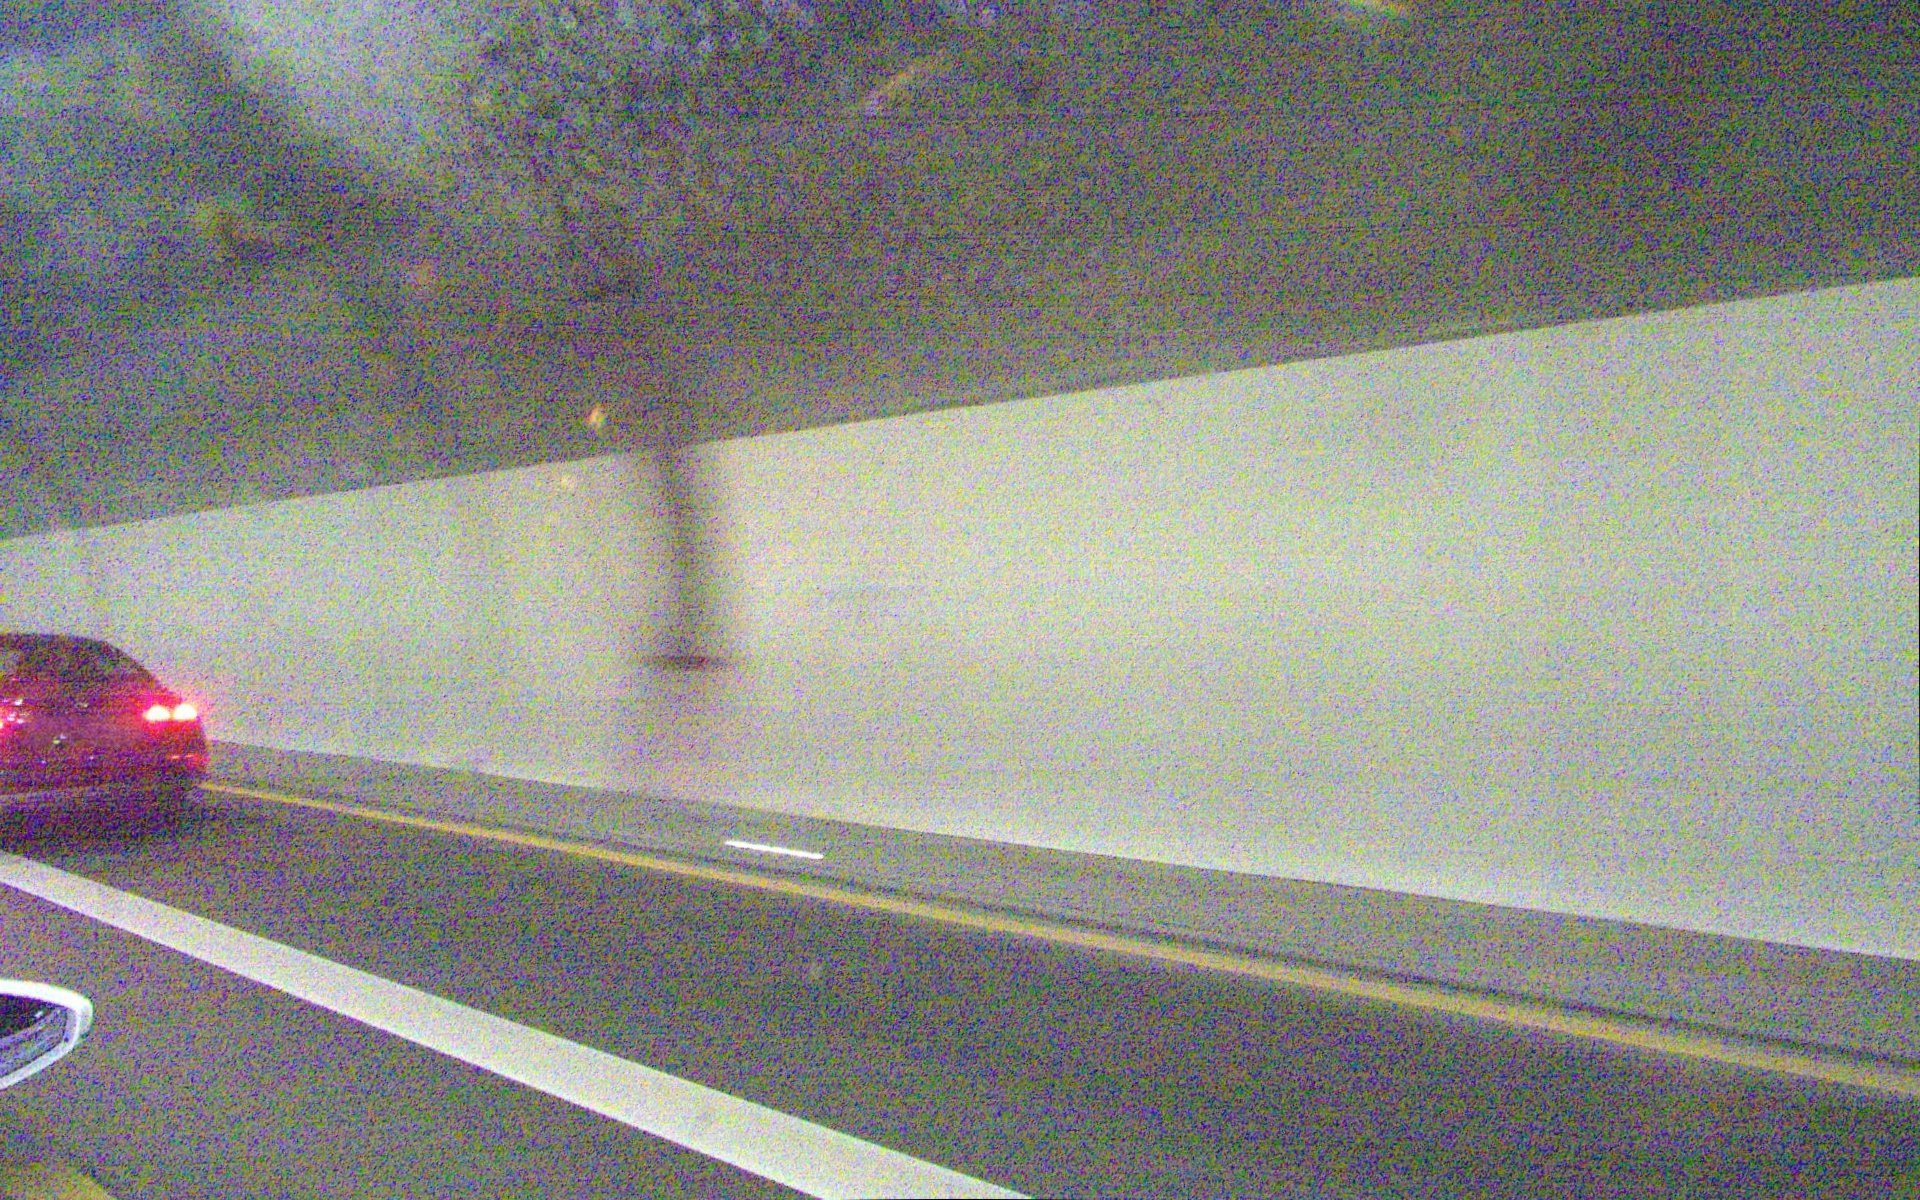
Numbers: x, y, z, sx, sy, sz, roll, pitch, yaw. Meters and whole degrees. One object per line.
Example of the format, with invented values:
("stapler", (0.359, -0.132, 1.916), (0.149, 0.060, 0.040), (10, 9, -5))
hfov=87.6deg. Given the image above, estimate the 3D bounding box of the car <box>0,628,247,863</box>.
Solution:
("car", (-7.949, 0.973, 8.049), (4.884, 1.491, 1.922), (-1, -2, 32))
